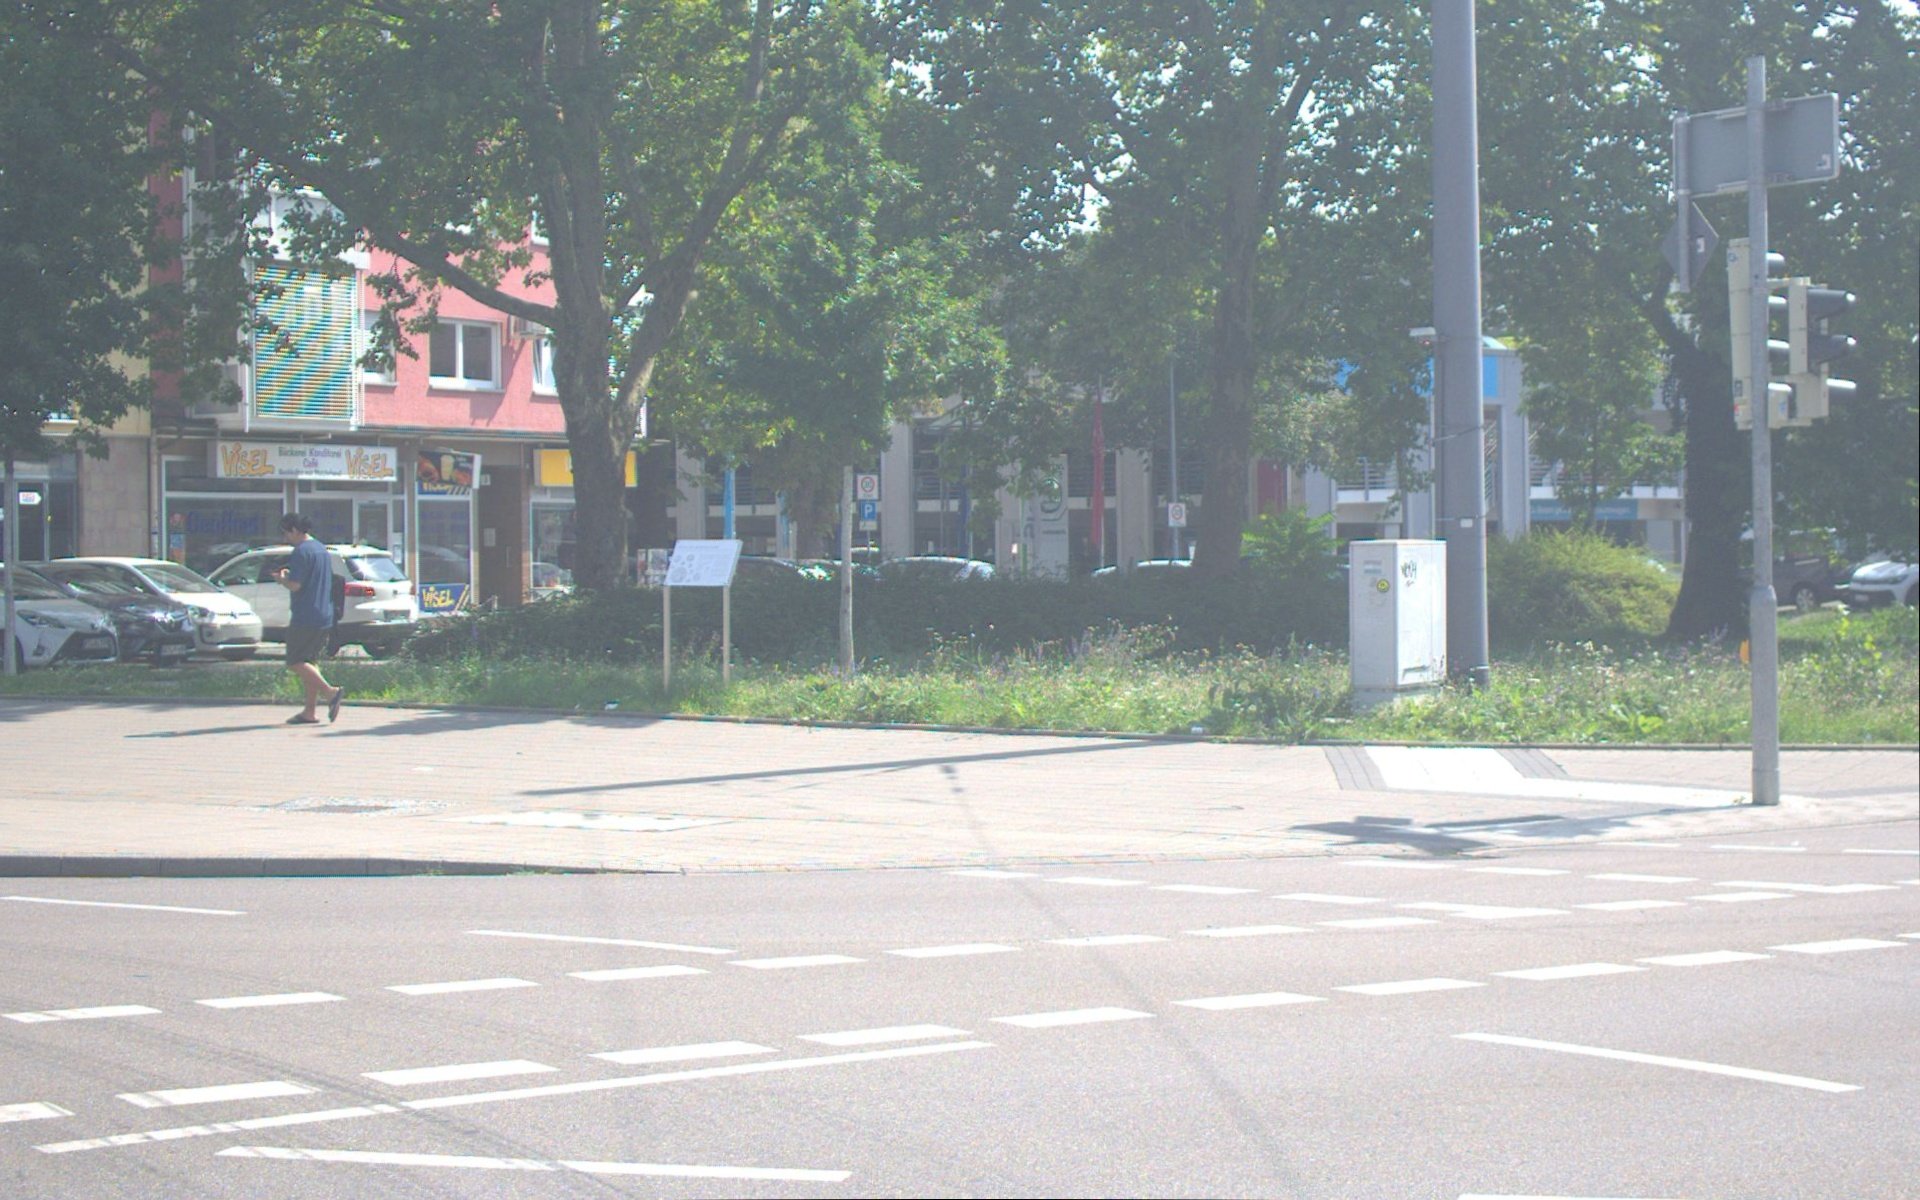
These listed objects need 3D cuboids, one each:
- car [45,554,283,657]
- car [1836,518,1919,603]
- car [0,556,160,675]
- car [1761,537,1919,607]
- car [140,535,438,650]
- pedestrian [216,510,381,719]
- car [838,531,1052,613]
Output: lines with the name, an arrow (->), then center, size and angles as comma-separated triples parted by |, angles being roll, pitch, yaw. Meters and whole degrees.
car -> -11.416, 0.079, 49.294 | 3.092, 1.424, 1.402 | 0, 1, 24
car -> 20.835, -0.857, 72.512 | 4.245, 1.747, 1.717 | -1, 1, -13
car -> -12.701, 0.187, 44.549 | 4.238, 1.465, 1.904 | 0, 1, 24
car -> 20.053, -0.646, 76.804 | 3.987, 1.503, 2.000 | -1, 1, -33
car -> -10.045, -0.114, 51.452 | 4.065, 1.660, 1.788 | 0, 1, 24
pedestrian -> -5.183, 0.107, 26.976 | 0.948, 1.603, 0.792 | -1, 1, 24
car -> -0.318, -0.581, 71.519 | 4.065, 1.660, 1.788 | 0, 1, 24
